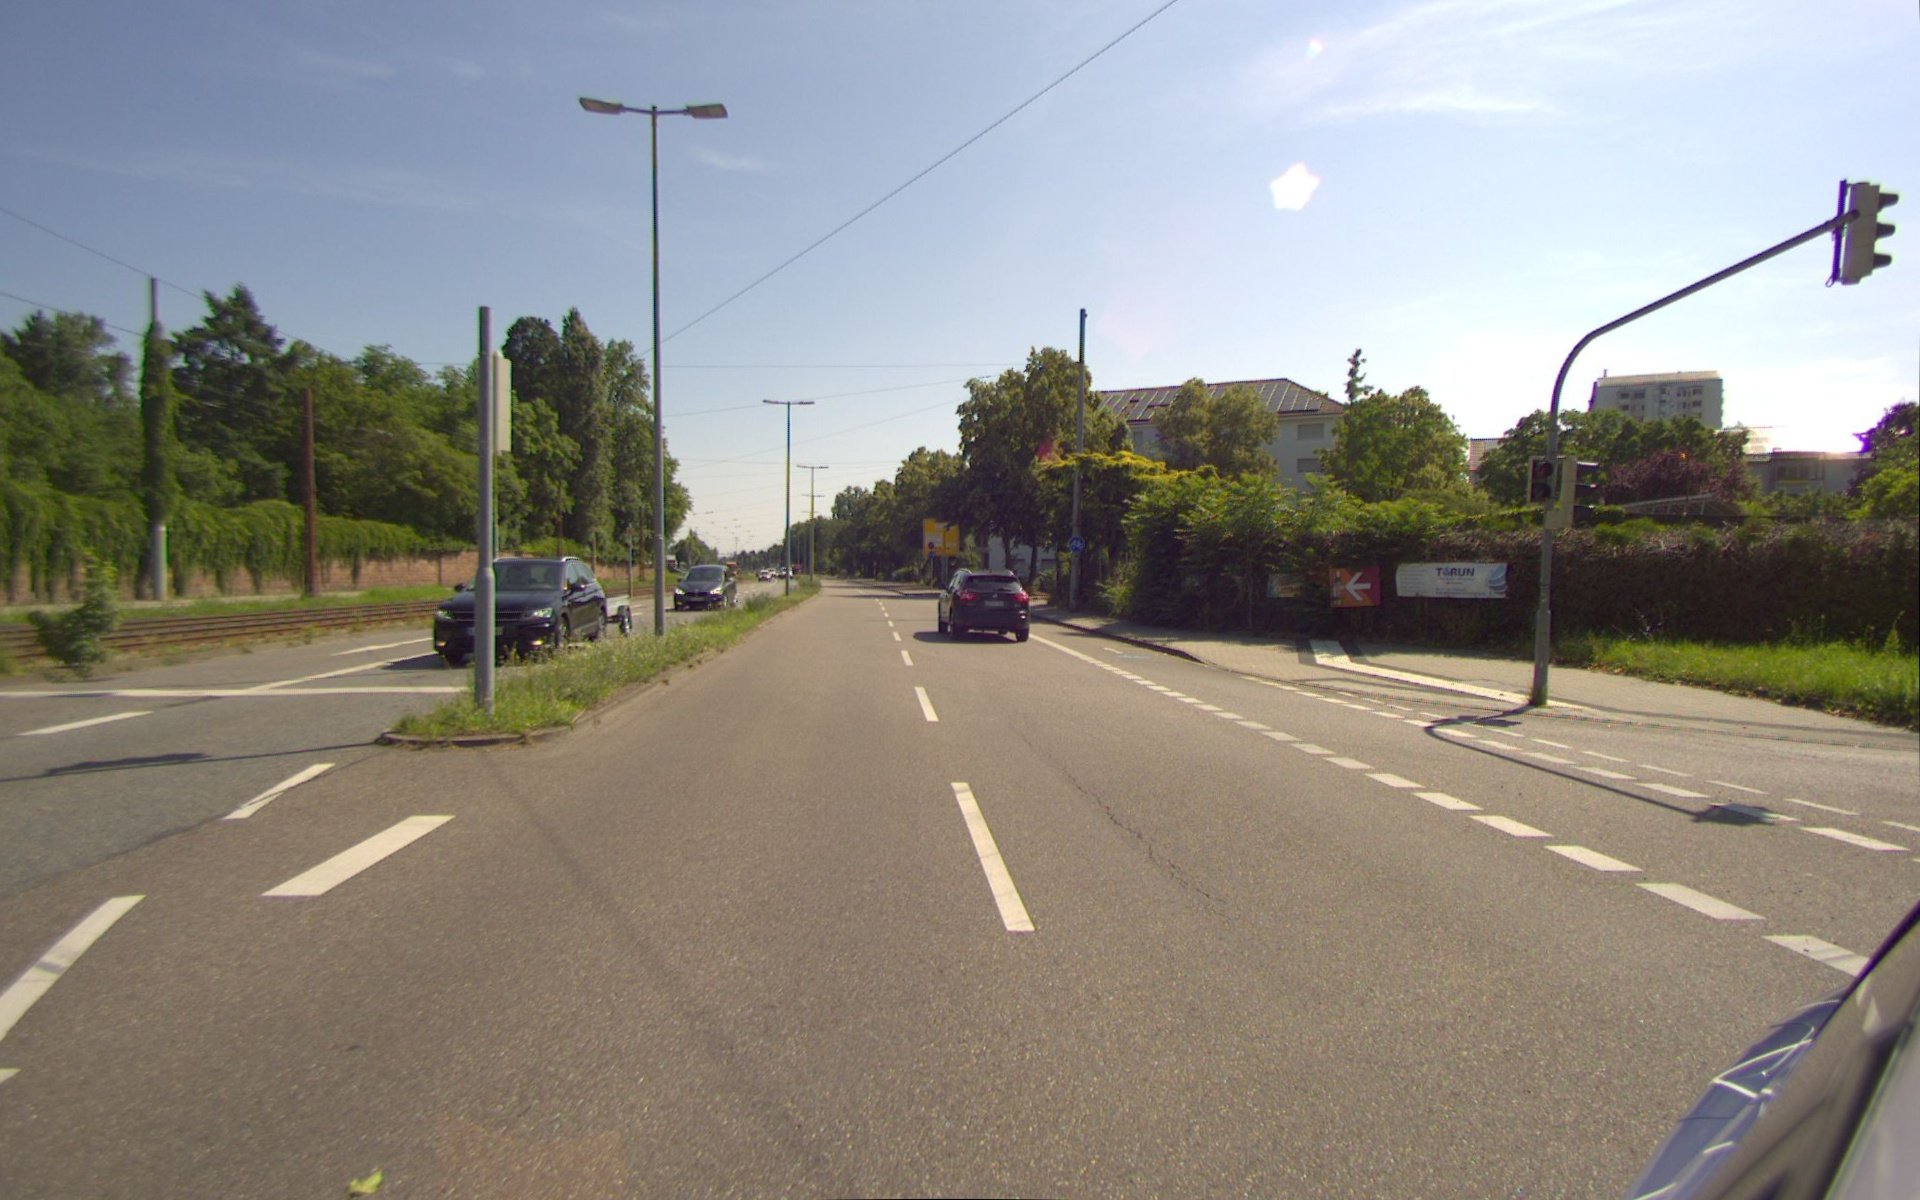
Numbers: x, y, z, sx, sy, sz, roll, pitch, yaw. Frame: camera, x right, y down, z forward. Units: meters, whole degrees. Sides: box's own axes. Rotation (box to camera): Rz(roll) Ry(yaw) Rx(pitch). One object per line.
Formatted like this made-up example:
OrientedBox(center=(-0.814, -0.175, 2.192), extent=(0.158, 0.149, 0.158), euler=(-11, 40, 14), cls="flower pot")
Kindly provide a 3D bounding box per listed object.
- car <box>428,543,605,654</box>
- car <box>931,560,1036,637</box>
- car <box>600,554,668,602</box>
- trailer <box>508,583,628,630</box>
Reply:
OrientedBox(center=(-7.210, -0.084, 16.917), extent=(1.720, 1.602, 4.514), euler=(0, 2, -10), cls="car")
OrientedBox(center=(0.439, -0.101, 23.953), extent=(1.720, 1.602, 4.513), euler=(2, 2, -8), cls="car")
OrientedBox(center=(-11.594, -0.799, 36.203), extent=(1.720, 1.602, 4.514), euler=(0, 2, -10), cls="car")
OrientedBox(center=(-7.902, 0.109, 20.650), extent=(1.720, 0.828, 3.076), euler=(0, 2, -10), cls="trailer")
